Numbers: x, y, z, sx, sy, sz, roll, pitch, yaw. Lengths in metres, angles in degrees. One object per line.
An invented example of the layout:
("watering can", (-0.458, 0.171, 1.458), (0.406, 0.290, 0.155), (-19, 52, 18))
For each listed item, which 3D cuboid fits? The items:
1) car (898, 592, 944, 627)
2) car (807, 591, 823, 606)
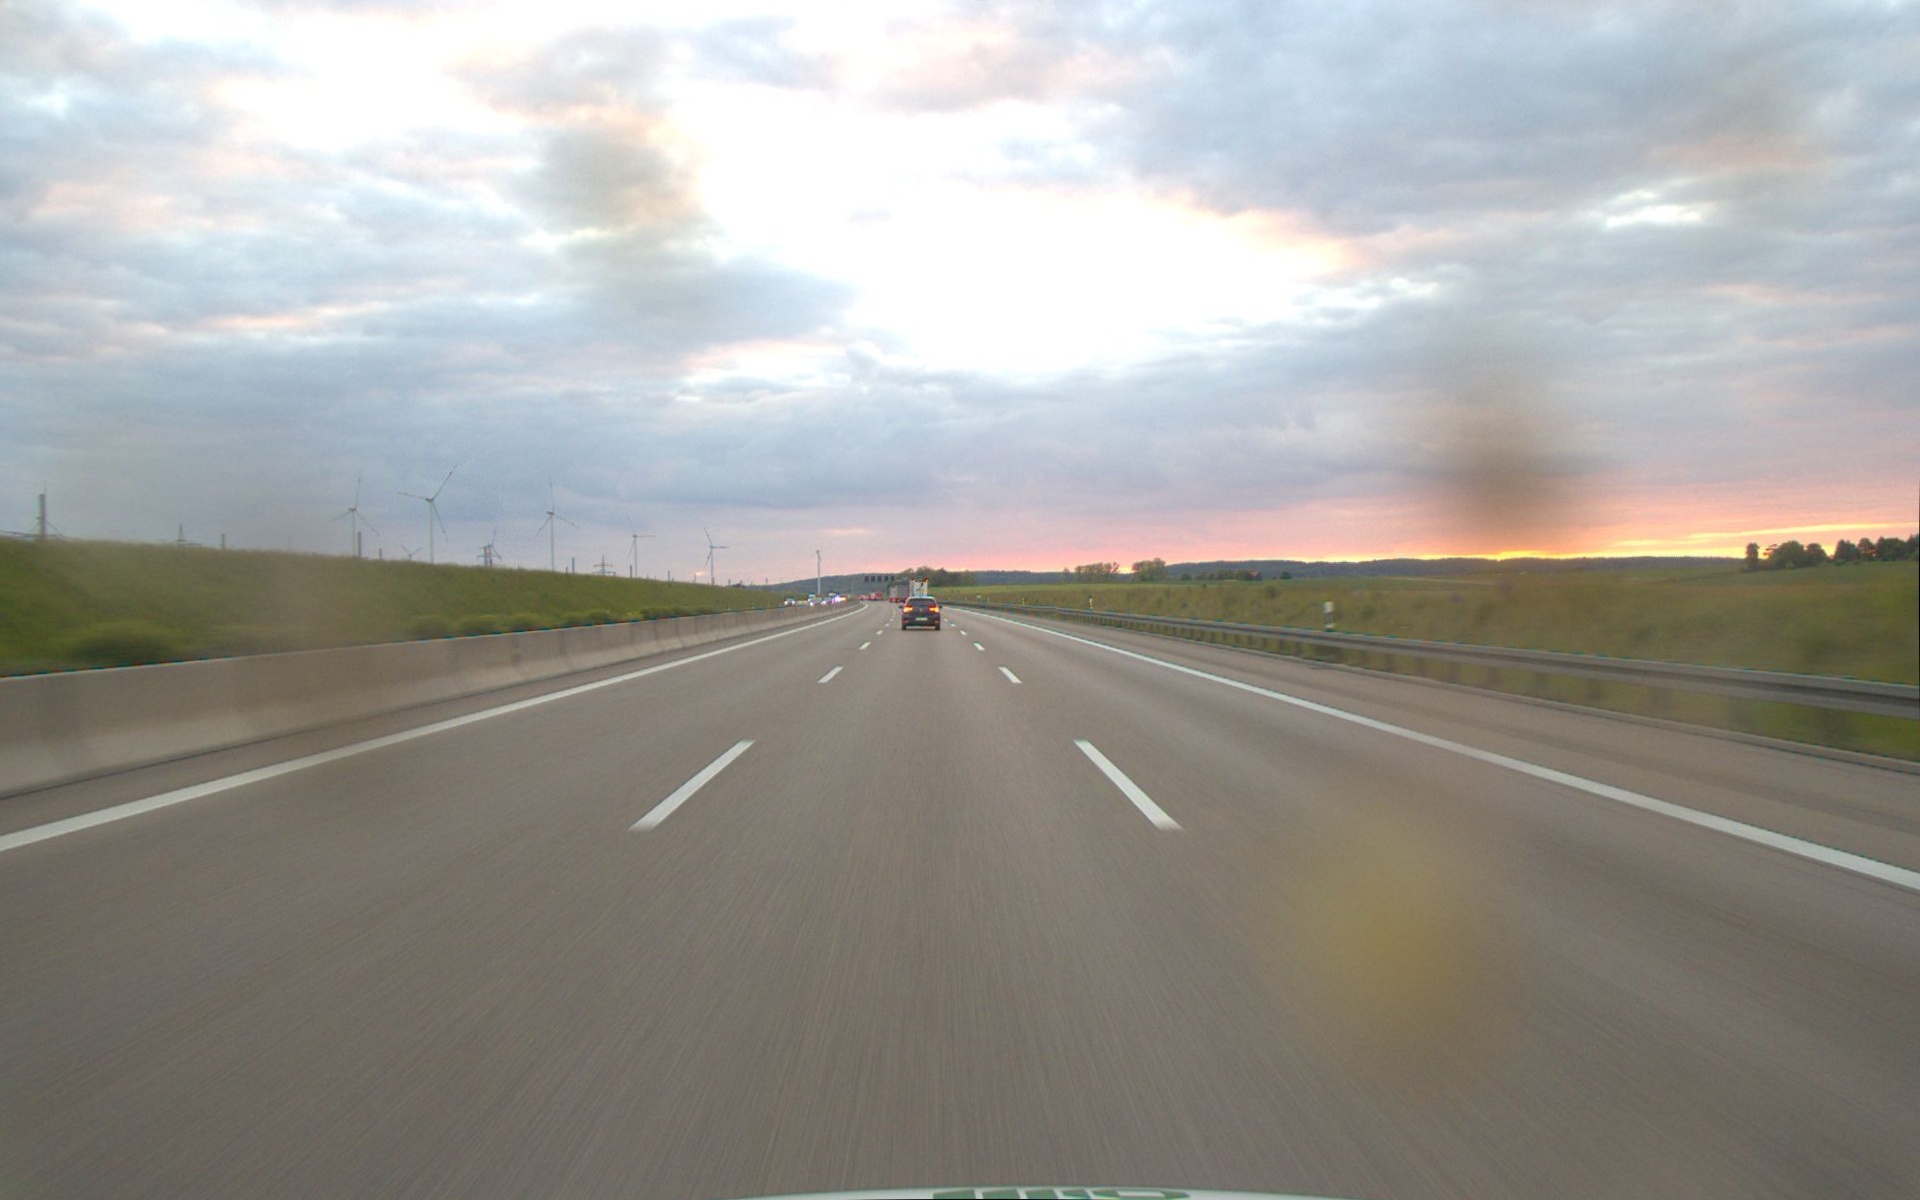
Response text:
("car", (-1.724, 0.382, 72.900), (1.947, 1.454, 3.999), (-1, 0, -1))
("car", (-18.853, -0.181, 214.695), (1.810, 1.847, 3.881), (-1, 0, -2))
